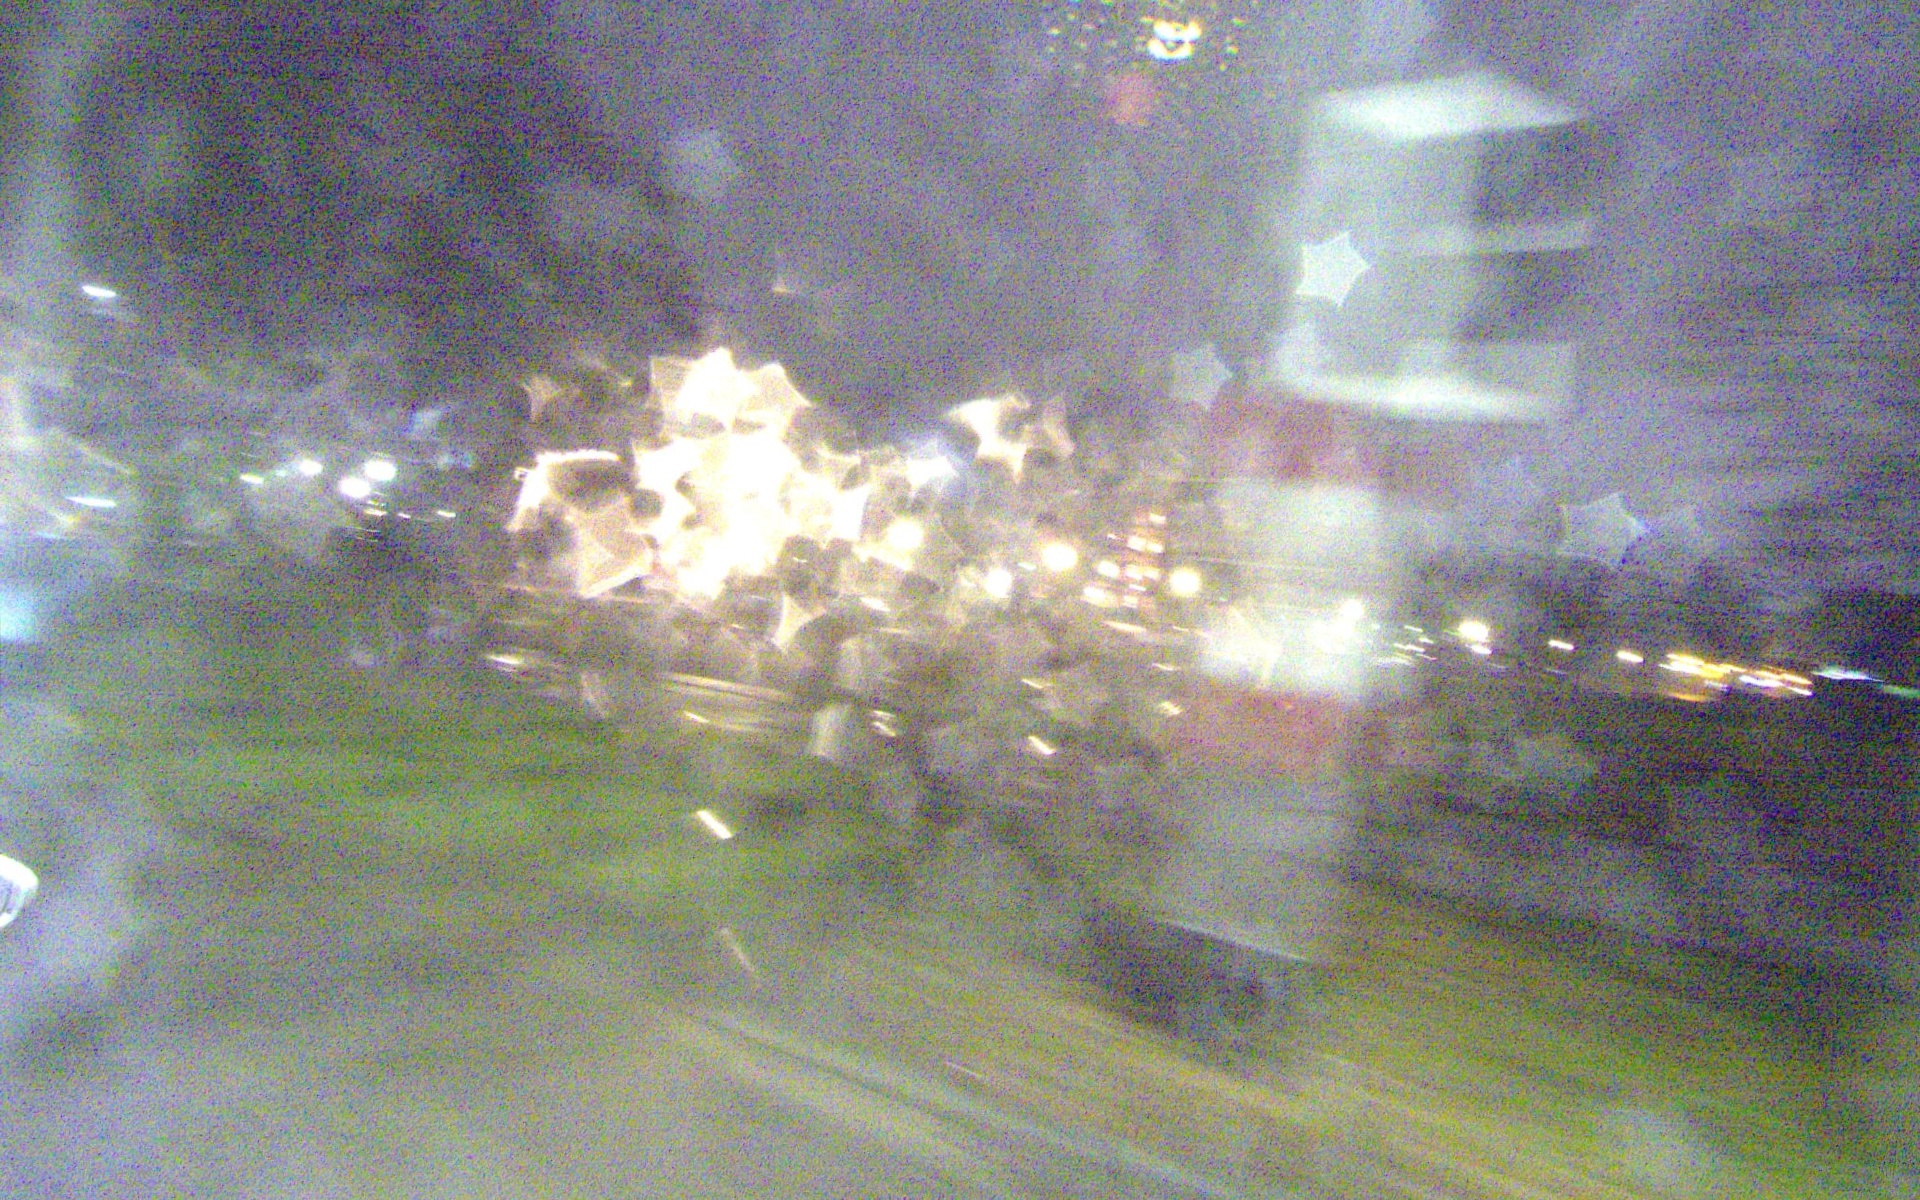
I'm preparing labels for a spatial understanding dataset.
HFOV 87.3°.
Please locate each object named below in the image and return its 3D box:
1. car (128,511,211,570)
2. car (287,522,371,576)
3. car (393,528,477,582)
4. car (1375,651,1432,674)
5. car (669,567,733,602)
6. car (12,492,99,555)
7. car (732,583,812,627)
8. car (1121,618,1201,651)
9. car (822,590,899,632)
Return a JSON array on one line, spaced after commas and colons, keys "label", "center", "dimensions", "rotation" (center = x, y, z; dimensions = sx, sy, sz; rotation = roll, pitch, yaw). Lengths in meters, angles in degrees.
[{"label": "car", "center": [-24.556, -1.778, 31.218], "dimensions": [1.709, 1.514, 3.869], "rotation": [6, -3, -42]}, {"label": "car", "center": [-21.500, -1.758, 34.222], "dimensions": [1.710, 1.515, 3.866], "rotation": [7, -1, -41]}, {"label": "car", "center": [-19.013, -1.650, 36.360], "dimensions": [1.710, 1.555, 3.866], "rotation": [7, -1, -41]}, {"label": "car", "center": [38.351, 5.385, 87.028], "dimensions": [1.710, 1.391, 4.101], "rotation": [8, -1, -41]}, {"label": "car", "center": [-14.435, -0.865, 55.940], "dimensions": [1.710, 1.555, 3.866], "rotation": [7, -1, -41]}, {"label": "car", "center": [-26.813, -2.271, 29.902], "dimensions": [1.710, 1.515, 3.866], "rotation": [7, -1, -41]}, {"label": "car", "center": [-8.599, 0.205, 45.892], "dimensions": [1.710, 1.555, 3.866], "rotation": [7, -1, -41]}, {"label": "car", "center": [13.092, 2.242, 65.752], "dimensions": [1.710, 1.555, 4.937], "rotation": [7, -1, -41]}, {"label": "car", "center": [-4.901, 0.523, 49.188], "dimensions": [1.710, 1.555, 3.866], "rotation": [7, -1, -41]}]
